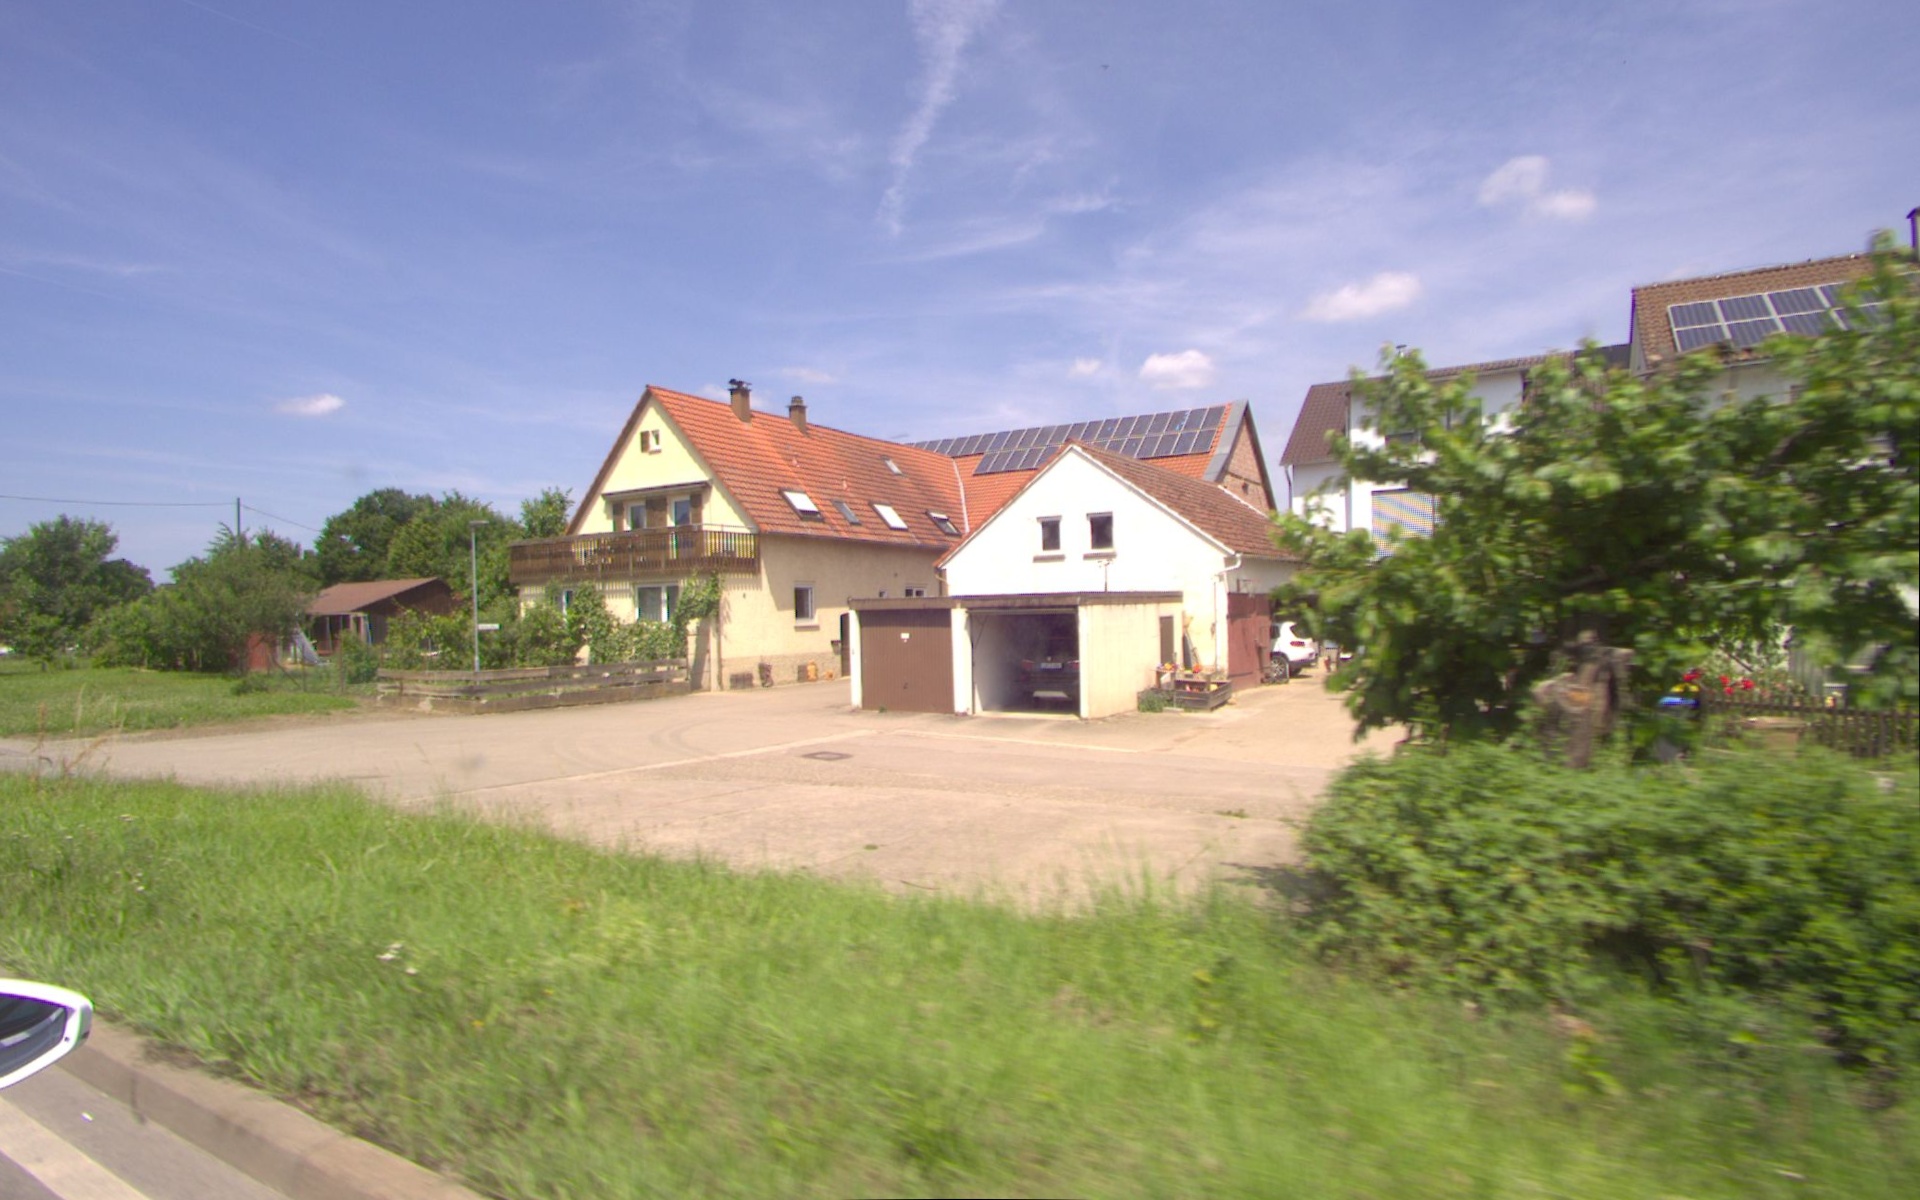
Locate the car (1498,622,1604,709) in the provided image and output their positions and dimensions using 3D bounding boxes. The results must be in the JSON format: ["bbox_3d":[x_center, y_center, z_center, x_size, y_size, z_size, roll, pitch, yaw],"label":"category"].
[{"bbox_3d":[13.484,1.411,22.749,1.819,1.715,3.938,-2,-1,34],"label":"car"}]

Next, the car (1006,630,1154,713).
[{"bbox_3d":[2.811,1.540,22.672,1.808,1.598,3.979,-2,-1,32],"label":"car"}]

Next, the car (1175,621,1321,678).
[{"bbox_3d":[8.754,1.498,30.561,3.944,1.638,1.751,-2,-2,33],"label":"car"}]

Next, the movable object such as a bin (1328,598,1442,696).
[{"bbox_3d":[11.225,1.131,26.322,2.051,2.375,3.698,1,1,34],"label":"movable object such as a bin"}]
